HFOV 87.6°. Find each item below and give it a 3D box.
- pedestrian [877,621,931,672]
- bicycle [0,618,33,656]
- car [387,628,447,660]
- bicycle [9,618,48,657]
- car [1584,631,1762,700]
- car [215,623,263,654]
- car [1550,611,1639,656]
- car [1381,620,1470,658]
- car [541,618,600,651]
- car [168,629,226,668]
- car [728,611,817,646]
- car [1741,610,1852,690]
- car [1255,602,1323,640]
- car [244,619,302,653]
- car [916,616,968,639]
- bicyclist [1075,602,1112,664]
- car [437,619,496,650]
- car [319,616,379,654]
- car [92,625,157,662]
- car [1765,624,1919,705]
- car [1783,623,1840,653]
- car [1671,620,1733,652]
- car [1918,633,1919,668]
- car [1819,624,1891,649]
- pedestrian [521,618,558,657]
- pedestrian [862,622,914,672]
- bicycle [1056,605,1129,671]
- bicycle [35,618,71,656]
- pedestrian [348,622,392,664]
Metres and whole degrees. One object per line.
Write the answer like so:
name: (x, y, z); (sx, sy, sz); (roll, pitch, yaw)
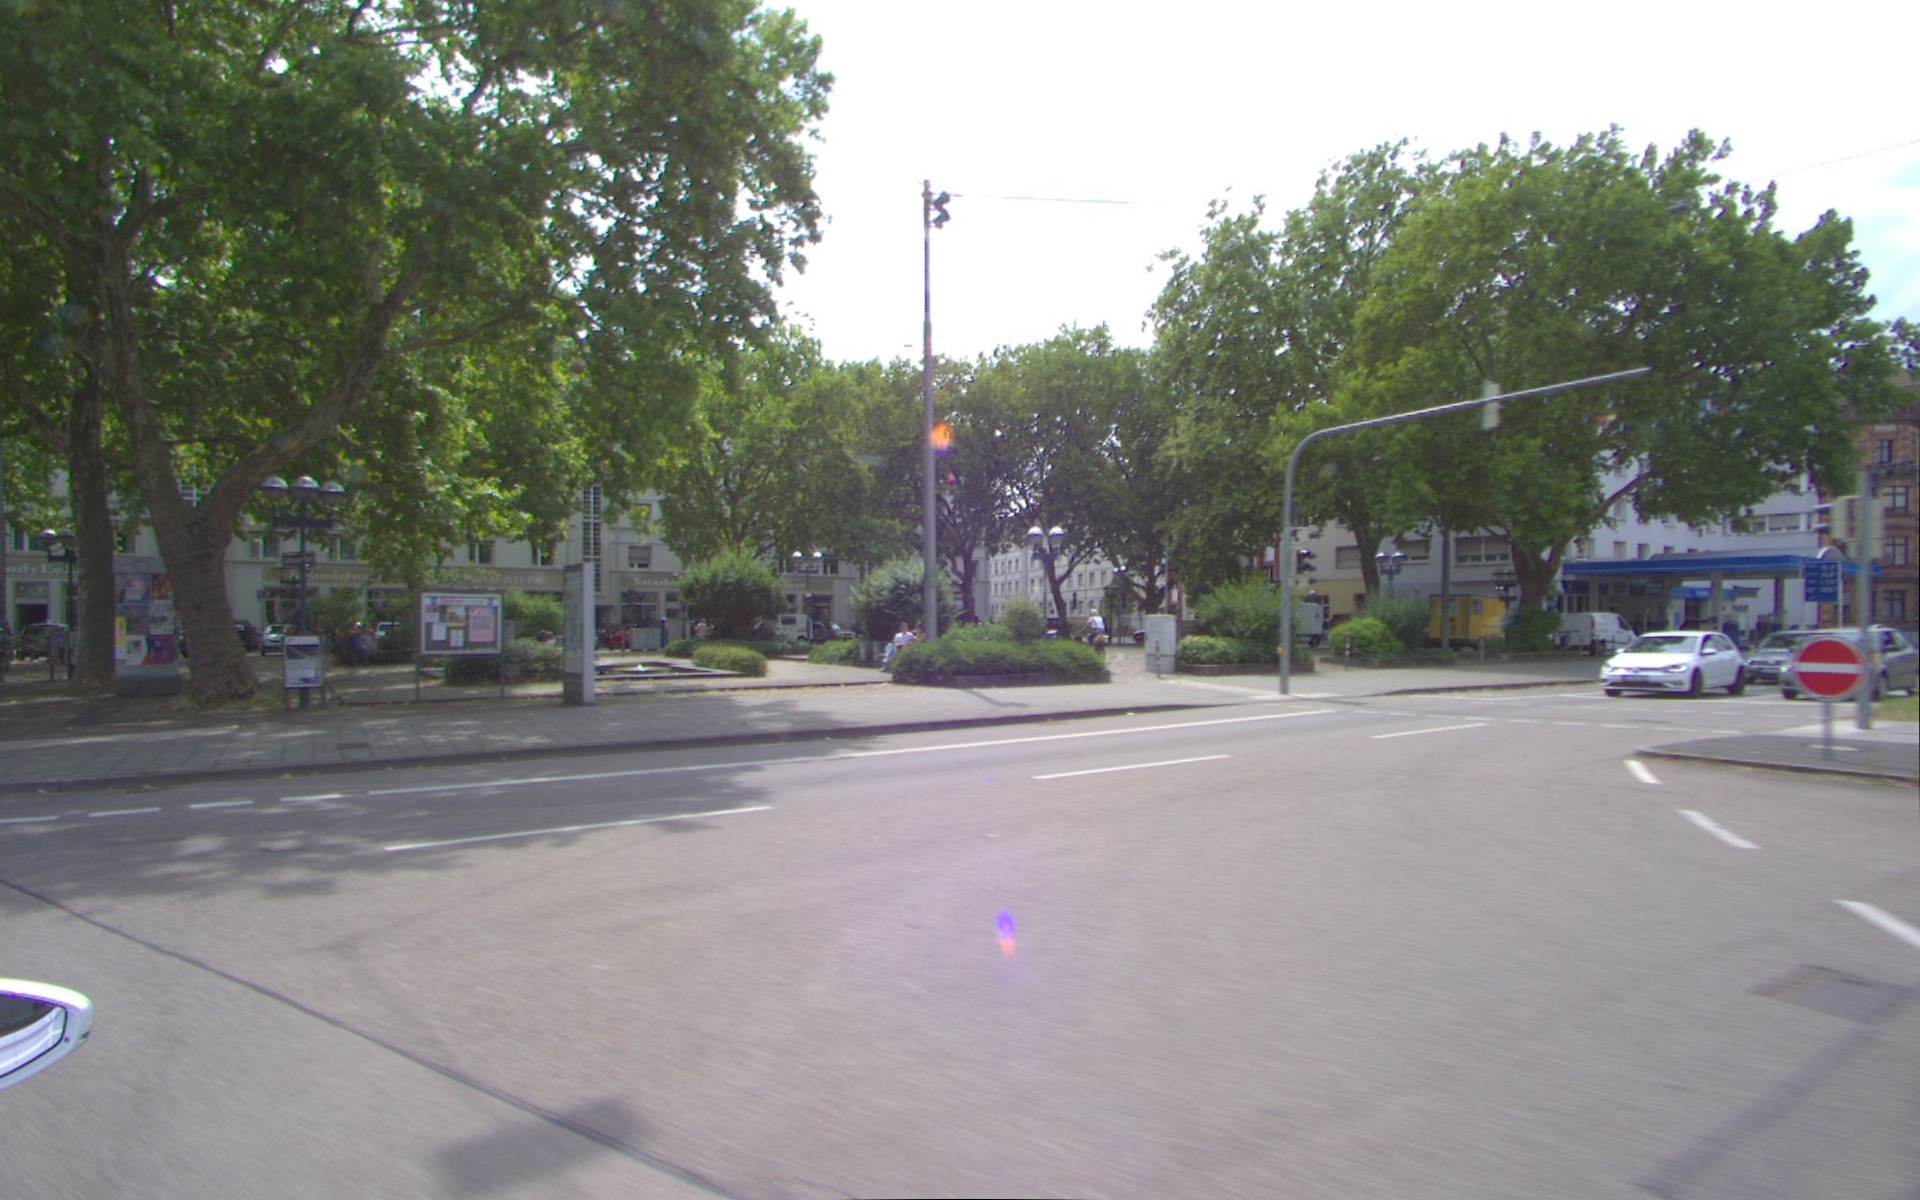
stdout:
pedestrian: (-1.498, 1.243, 26.895); (1.164, 1.335, 0.861); (1, 0, -36)
bicycle: (-35.476, 1.368, 37.545); (0.414, 1.396, 2.302); (0, -1, -26)
car: (-26.873, 2.136, 49.495); (1.977, 1.483, 3.969); (1, -1, -38)
bicycle: (-34.900, 1.382, 37.547); (0.414, 1.396, 2.301); (0, 0, -26)
car: (16.183, 1.428, 22.686); (4.230, 1.401, 1.828); (1, -1, -32)
car: (-38.147, 2.007, 53.022); (1.975, 1.611, 4.166); (1, -2, -36)
car: (28.316, 1.489, 44.658); (4.330, 1.902, 1.985); (1, -1, -38)
car: (23.664, 1.966, 50.921); (3.934, 1.839, 1.994); (1, -1, -22)
car: (-20.794, 1.802, 53.376); (1.976, 1.661, 3.970); (1, -1, -37)
car: (-33.696, 2.083, 44.208); (1.977, 1.619, 3.969); (1, -1, -38)
car: (-10.081, 1.521, 53.973); (4.277, 1.839, 1.987); (1, -1, -35)
car: (23.163, 1.334, 27.682); (3.962, 2.039, 1.981); (1, -2, -44)
car: (19.566, 1.256, 59.509); (3.982, 2.135, 1.984); (1, -1, -39)
car: (-31.639, 1.641, 46.084); (1.977, 1.483, 3.969); (1, -1, -38)
car: (-1.245, 1.819, 66.546); (1.968, 1.502, 4.086); (1, -1, -24)
bicyclist: (3.656, 0.888, 27.431); (0.555, 1.674, 0.861); (1, 0, -36)
car: (-25.105, 1.730, 50.890); (1.977, 1.483, 3.969); (1, -1, -38)
car: (-29.153, 1.629, 47.708); (1.977, 1.717, 4.525); (1, -1, -38)
car: (-35.508, 1.794, 42.631); (1.977, 1.483, 3.969); (1, -1, -38)
car: (18.893, 1.303, 21.157); (4.234, 1.531, 1.827); (1, -1, -35)
car: (59.136, 2.617, 69.553); (3.947, 2.040, 1.988); (1, -1, -33)
car: (48.363, 2.336, 65.226); (3.947, 2.040, 1.988); (1, -1, -33)
car: (37.600, 1.908, 37.416); (3.952, 1.282, 1.985); (1, -1, -37)
car: (48.182, 1.948, 53.895); (3.948, 1.282, 1.987); (1, -1, -34)
pedestrian: (-13.823, 1.221, 32.885); (0.878, 1.216, 1.116); (1, 0, -37)
pedestrian: (-1.998, 1.297, 27.706); (1.164, 1.335, 0.861); (1, 0, -36)
bicycle: (3.606, 1.011, 27.443); (0.713, 1.728, 2.169); (1, -1, -35)
bicycle: (-34.374, 1.380, 37.968); (0.414, 1.396, 2.301); (0, 0, -26)
pedestrian: (-17.850, 1.281, 30.283); (1.085, 1.228, 1.134); (0, -1, -34)
